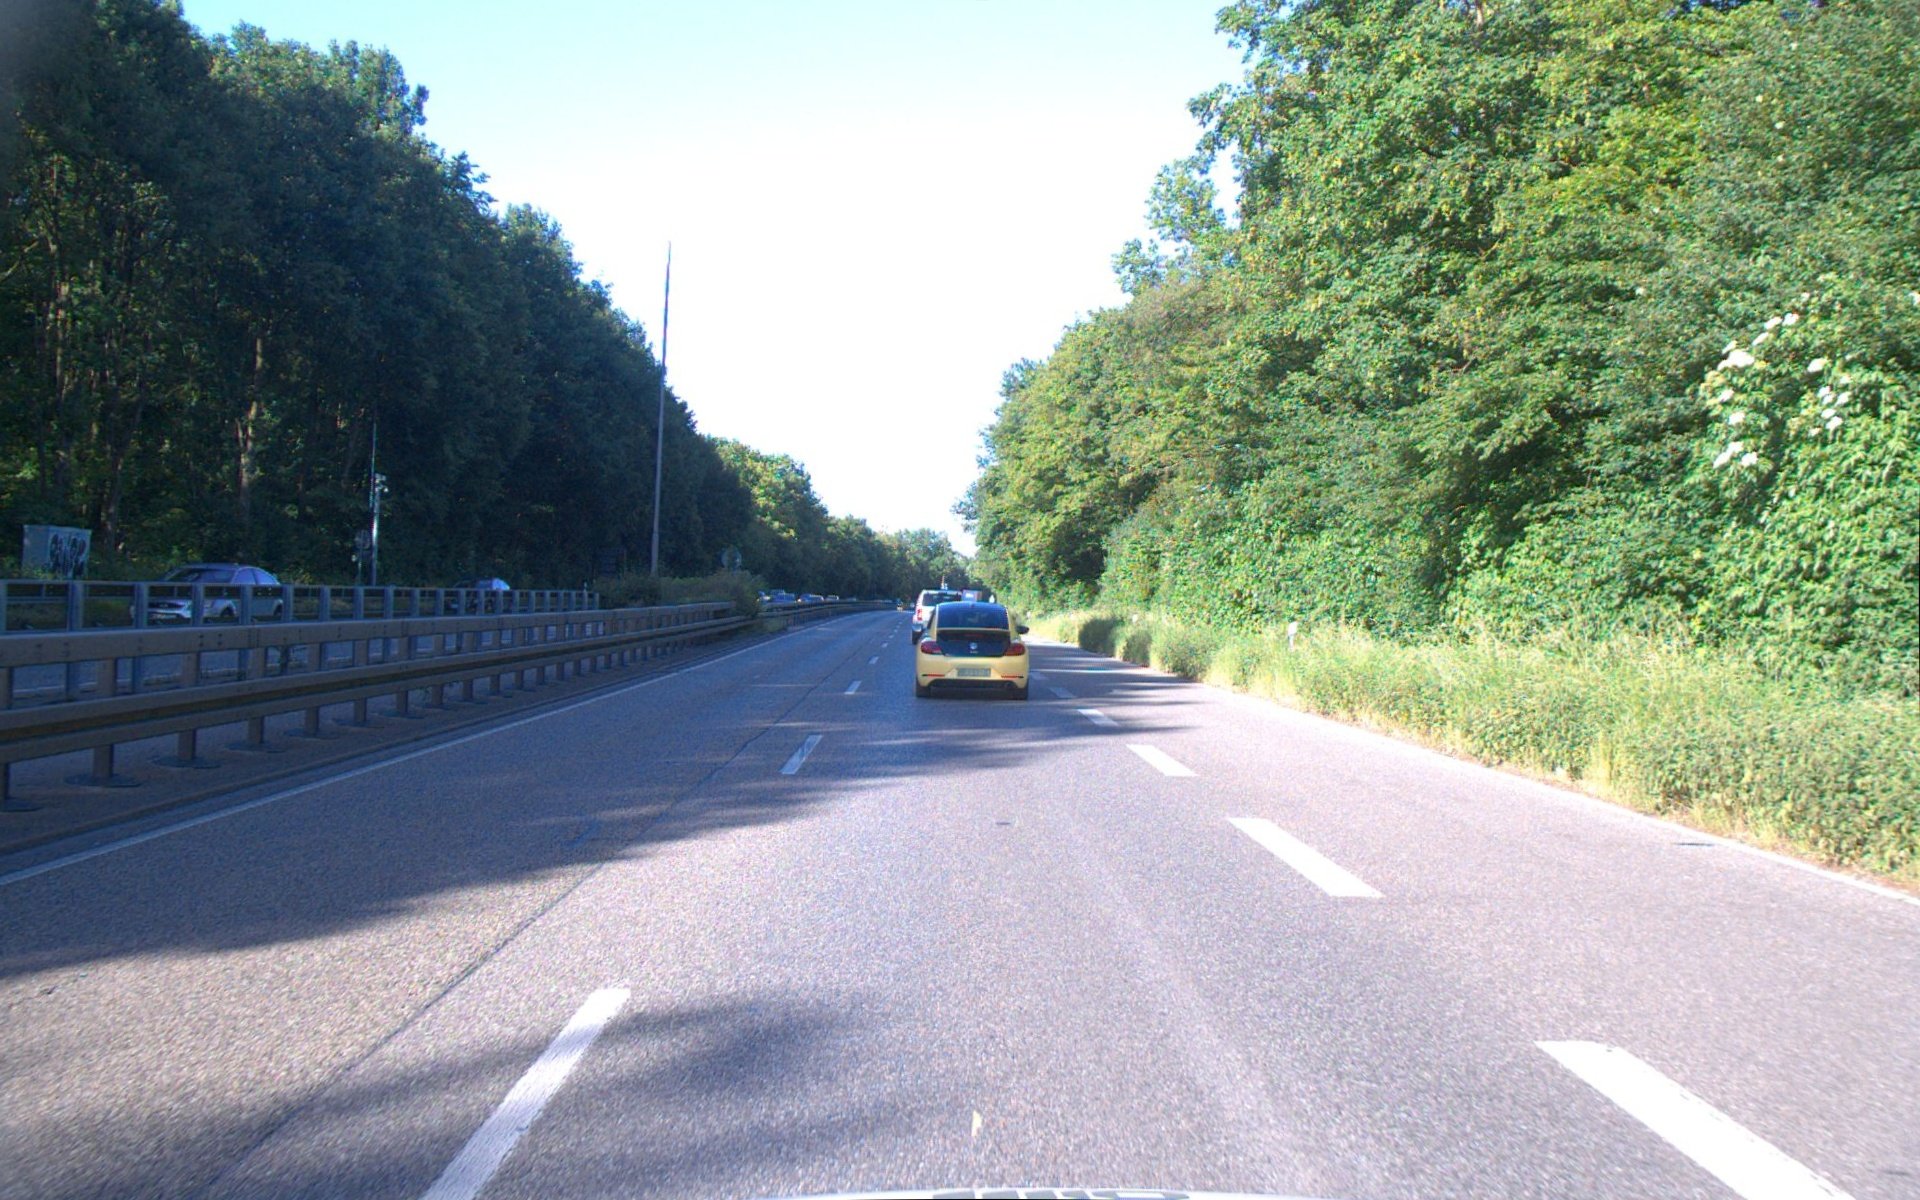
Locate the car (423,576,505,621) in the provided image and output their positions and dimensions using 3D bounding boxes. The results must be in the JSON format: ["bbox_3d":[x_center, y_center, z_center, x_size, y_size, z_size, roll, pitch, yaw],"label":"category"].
[{"bbox_3d":[-18.139,-0.046,60.691,1.695,1.515,4.452,2,0,-1],"label":"car"}]

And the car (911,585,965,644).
[{"bbox_3d":[-0.720,0.471,55.088,1.706,1.862,3.422,1,0,-1],"label":"car"}]

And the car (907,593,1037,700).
[{"bbox_3d":[0.243,0.709,26.389,1.899,1.535,3.423,2,0,2],"label":"car"}]

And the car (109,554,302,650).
[{"bbox_3d":[-15.288,0.046,33.796,1.953,1.780,4.372,1,0,-1],"label":"car"}]

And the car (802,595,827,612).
[{"bbox_3d":[-13.586,0.327,154.701,1.953,1.587,4.706,1,0,-1],"label":"car"}]
